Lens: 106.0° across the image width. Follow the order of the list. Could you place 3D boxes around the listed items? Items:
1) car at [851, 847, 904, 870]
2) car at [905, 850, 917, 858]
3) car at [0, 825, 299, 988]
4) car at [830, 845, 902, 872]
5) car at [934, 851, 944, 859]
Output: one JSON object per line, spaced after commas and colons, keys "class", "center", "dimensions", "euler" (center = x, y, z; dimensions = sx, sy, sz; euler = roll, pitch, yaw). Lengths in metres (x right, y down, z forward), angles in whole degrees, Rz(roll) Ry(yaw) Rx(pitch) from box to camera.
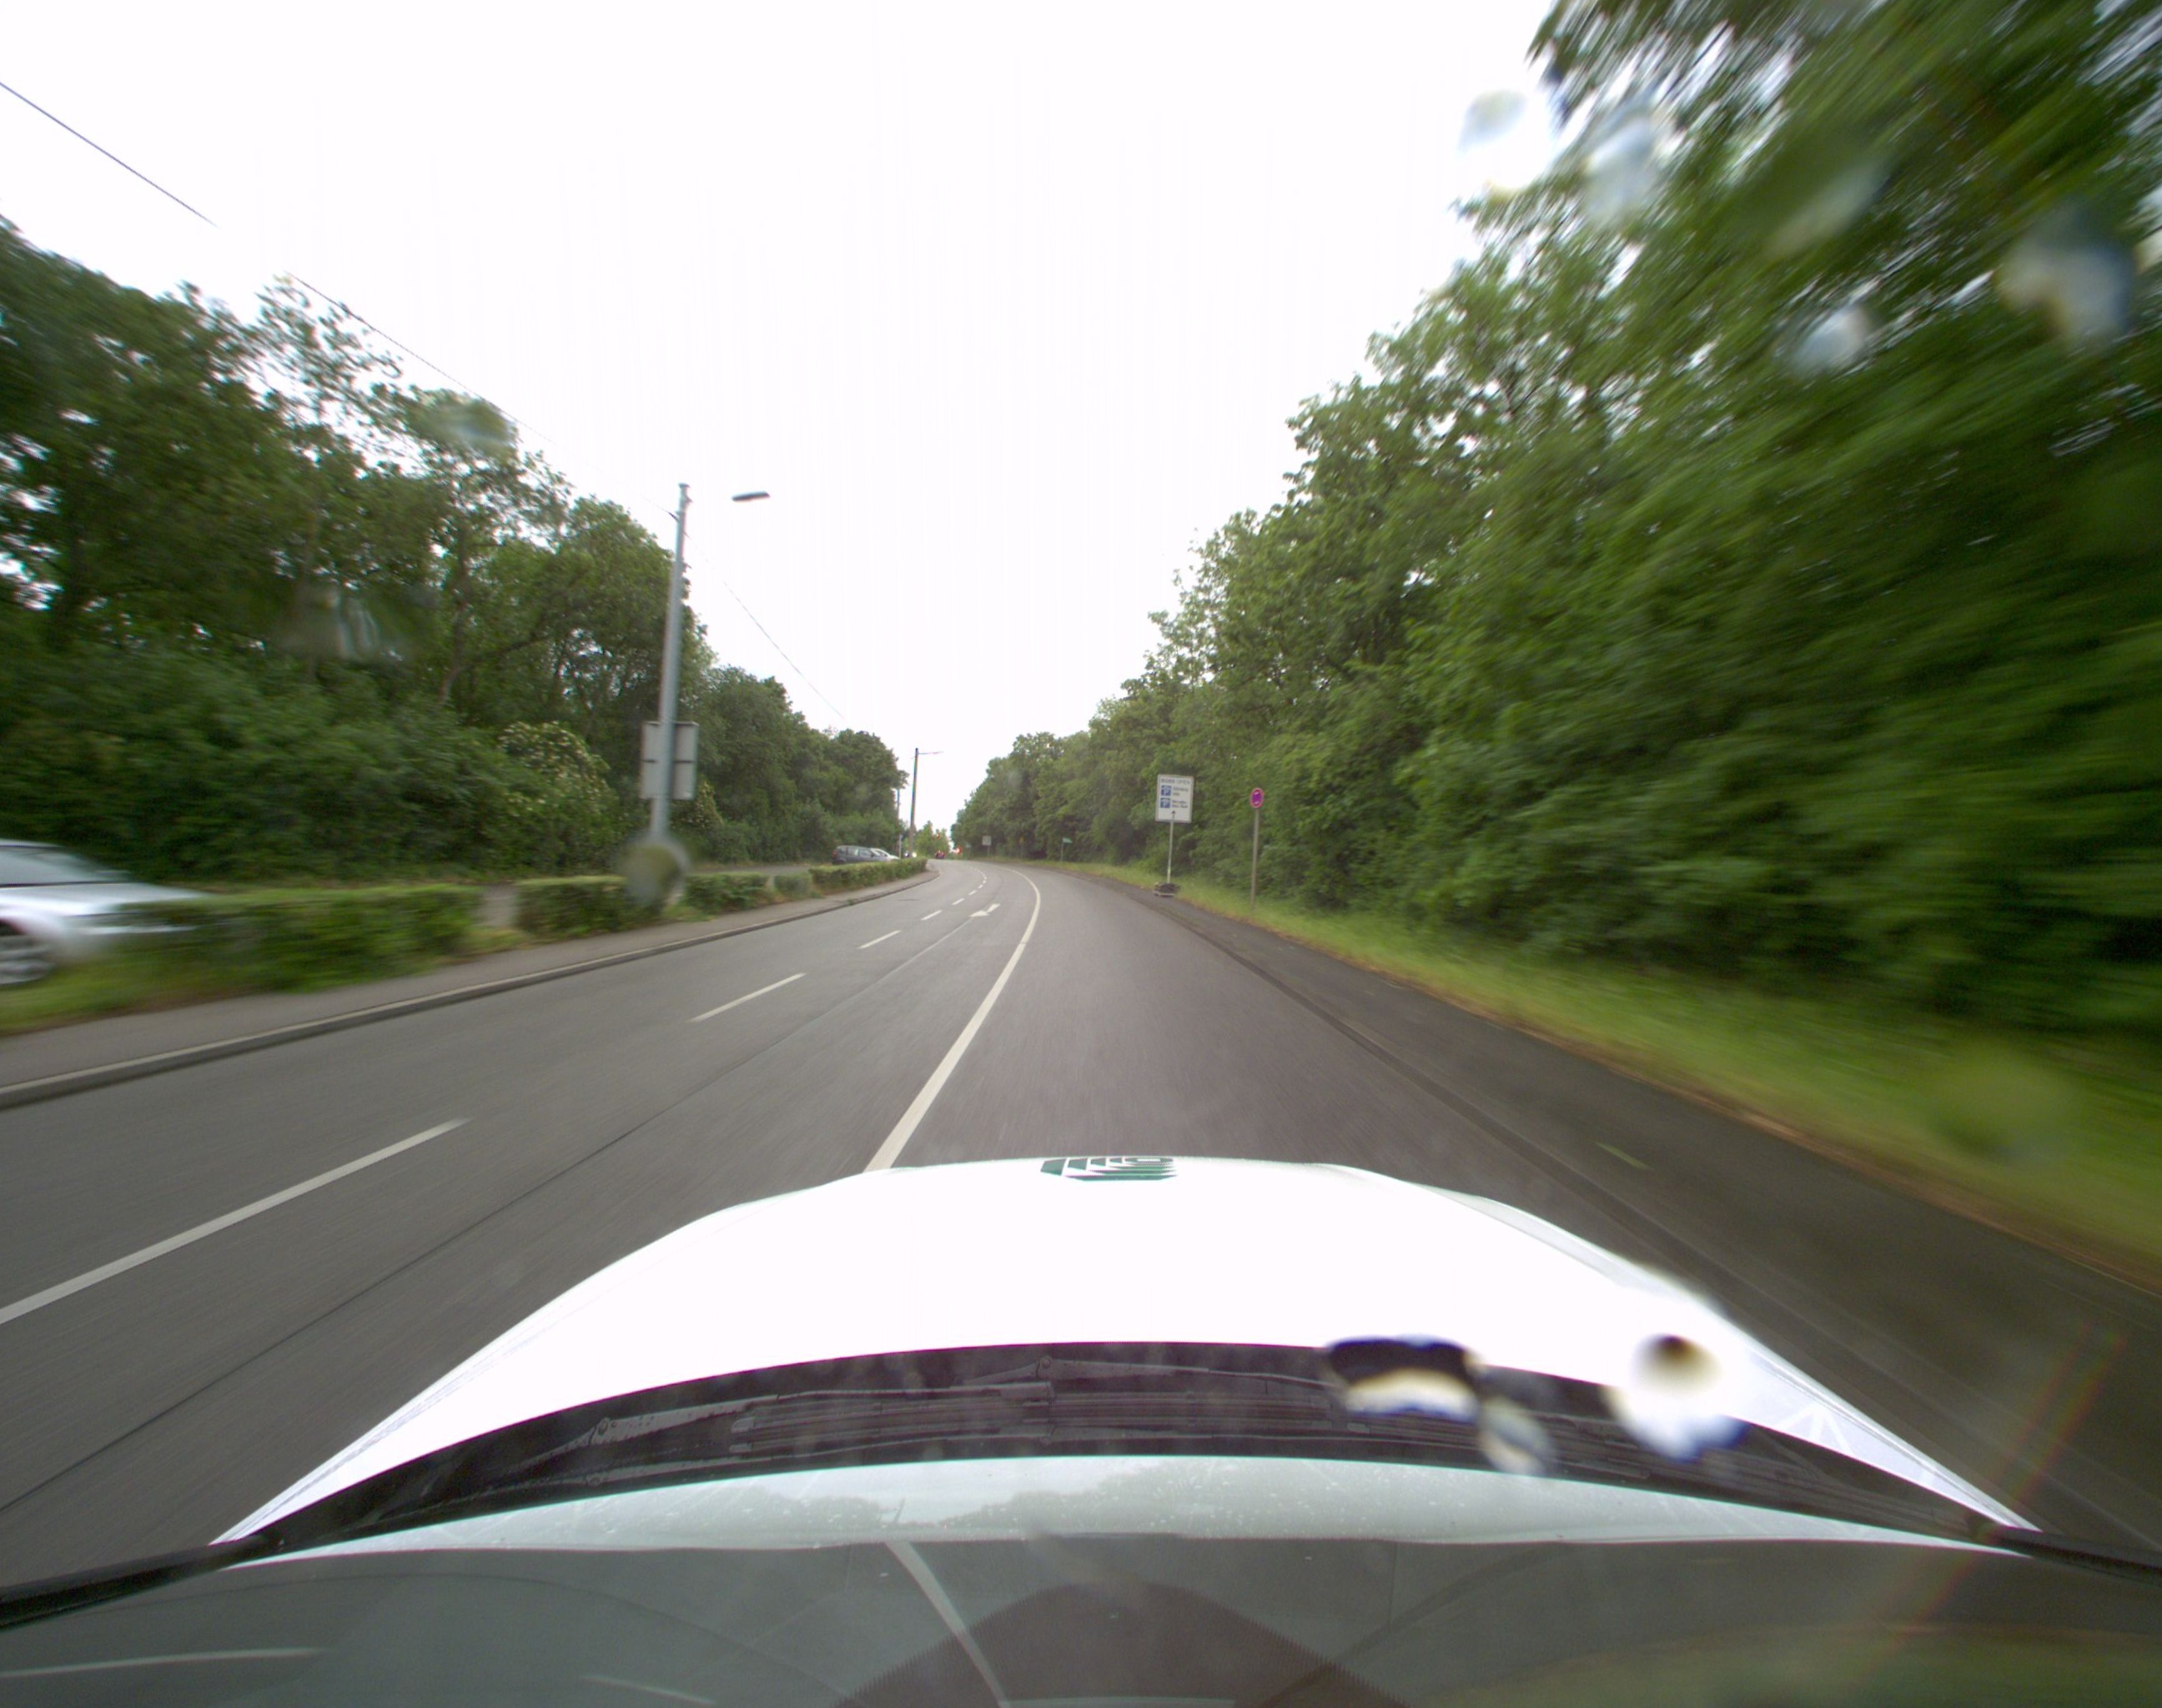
{"class": "car", "center": [-15.007, 0.344, 60.152], "dimensions": [3.645, 1.591, 1.845], "euler": [1, 0, -10]}
{"class": "car", "center": [-31.193, -0.025, 149.326], "dimensions": [1.938, 1.498, 4.297], "euler": [1, 0, -14]}
{"class": "car", "center": [-11.403, 0.458, 8.333], "dimensions": [4.570, 1.506, 1.996], "euler": [1, 0, -7]}
{"class": "car", "center": [-14.363, 0.297, 54.544], "dimensions": [4.281, 1.708, 1.998], "euler": [1, 0, -4]}
{"class": "car", "center": [-30.104, 0.220, 172.554], "dimensions": [1.934, 1.498, 4.305], "euler": [1, 0, -8]}
